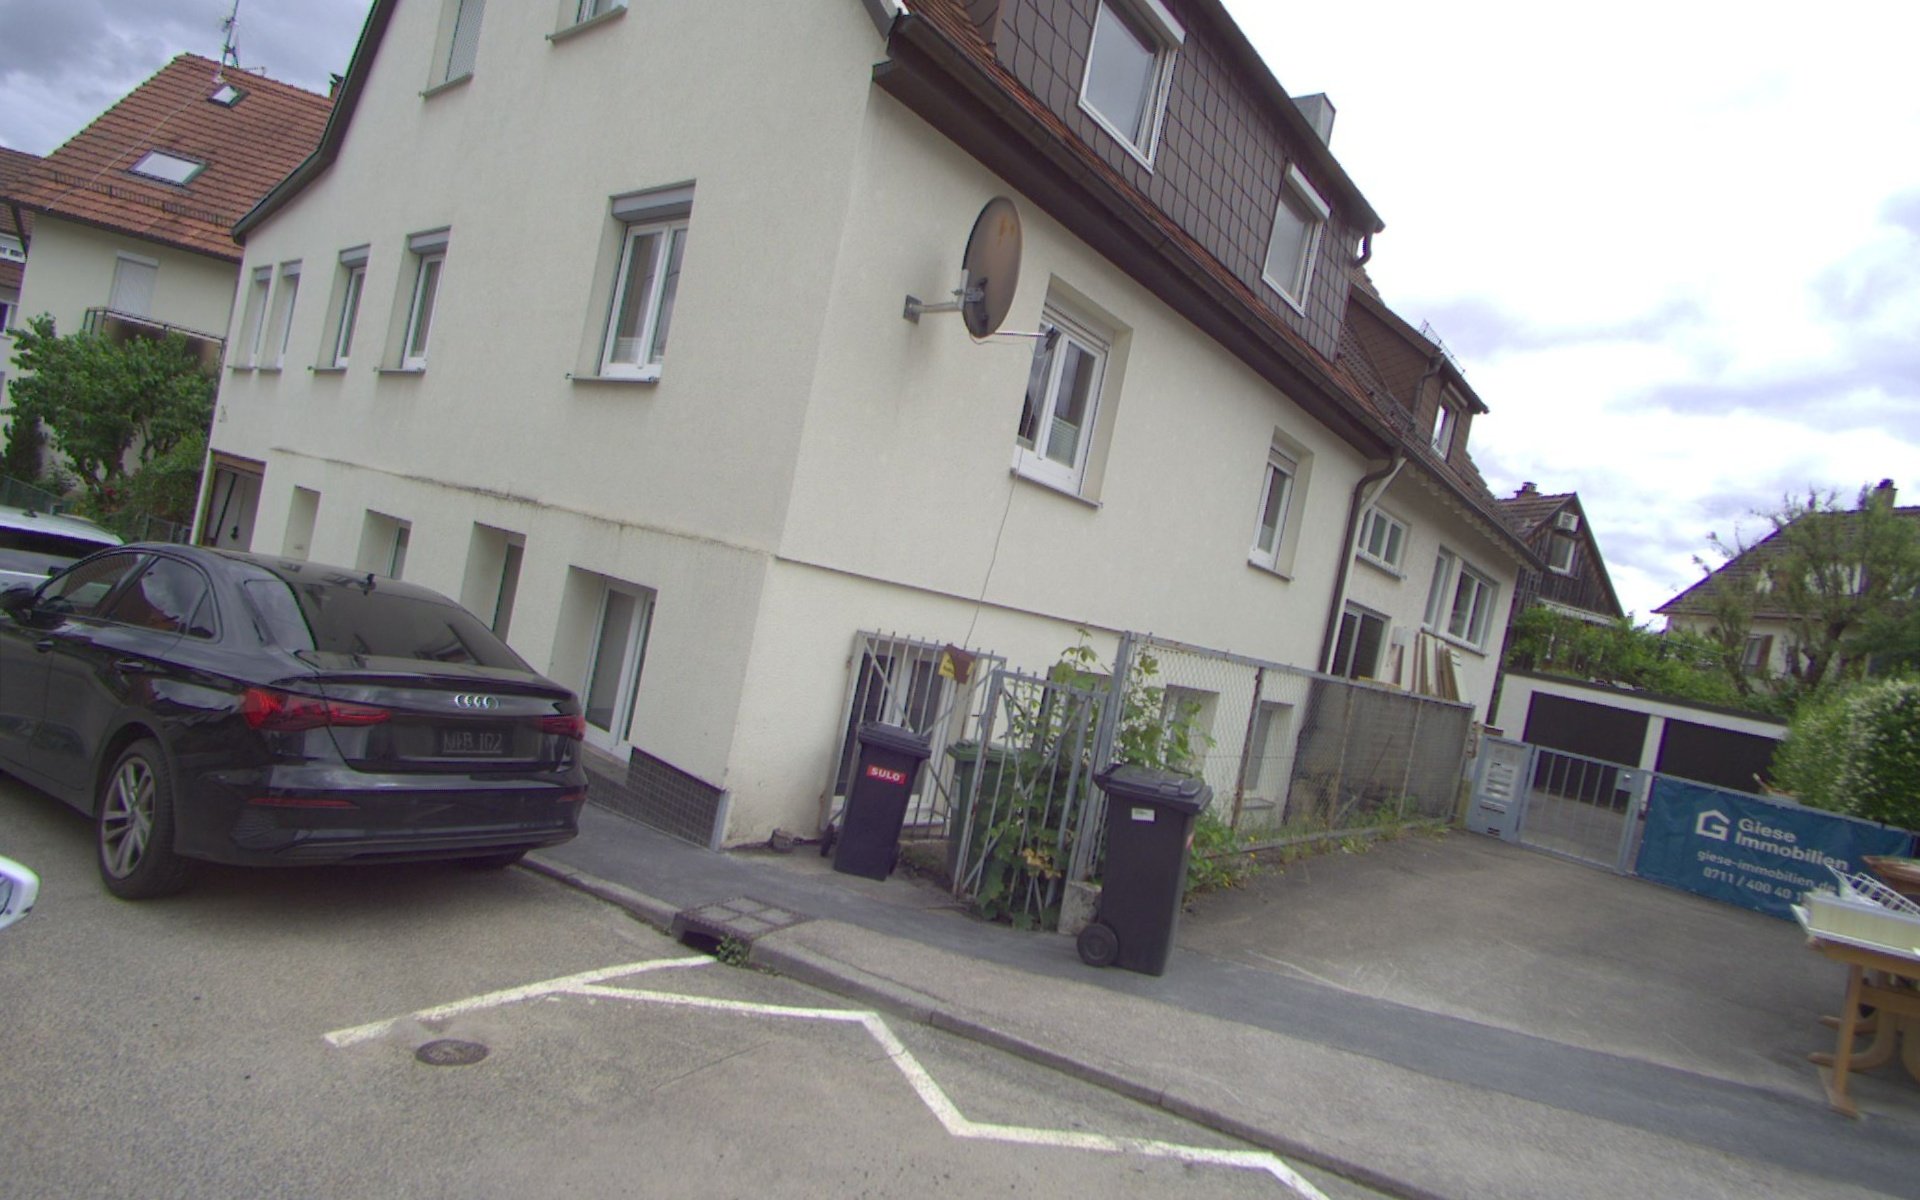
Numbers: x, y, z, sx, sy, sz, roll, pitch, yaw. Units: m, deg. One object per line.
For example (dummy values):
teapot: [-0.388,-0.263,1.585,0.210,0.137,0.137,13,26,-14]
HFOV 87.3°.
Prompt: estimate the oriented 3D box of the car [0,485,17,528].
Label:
car: [-37.682,-3.833,37.157,3.639,1.573,1.693,11,-2,-13]

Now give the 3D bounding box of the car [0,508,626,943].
car: [-3.890,0.441,5.373,3.984,1.423,1.679,7,-4,32]

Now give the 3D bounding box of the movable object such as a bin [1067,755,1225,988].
movable object such as a bin: [0.901,1.275,4.857,0.533,0.929,0.464,7,2,32]

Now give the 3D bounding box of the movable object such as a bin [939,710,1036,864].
movable object such as a bin: [0.171,1.237,6.752,0.530,0.899,0.482,6,1,-2]

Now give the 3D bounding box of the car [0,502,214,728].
car: [-8.043,-0.079,8.120,4.229,1.460,1.799,7,-4,34]

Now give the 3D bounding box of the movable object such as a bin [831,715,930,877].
movable object such as a bin: [-0.502,1.206,6.252,0.445,0.876,0.434,9,-1,-10]
